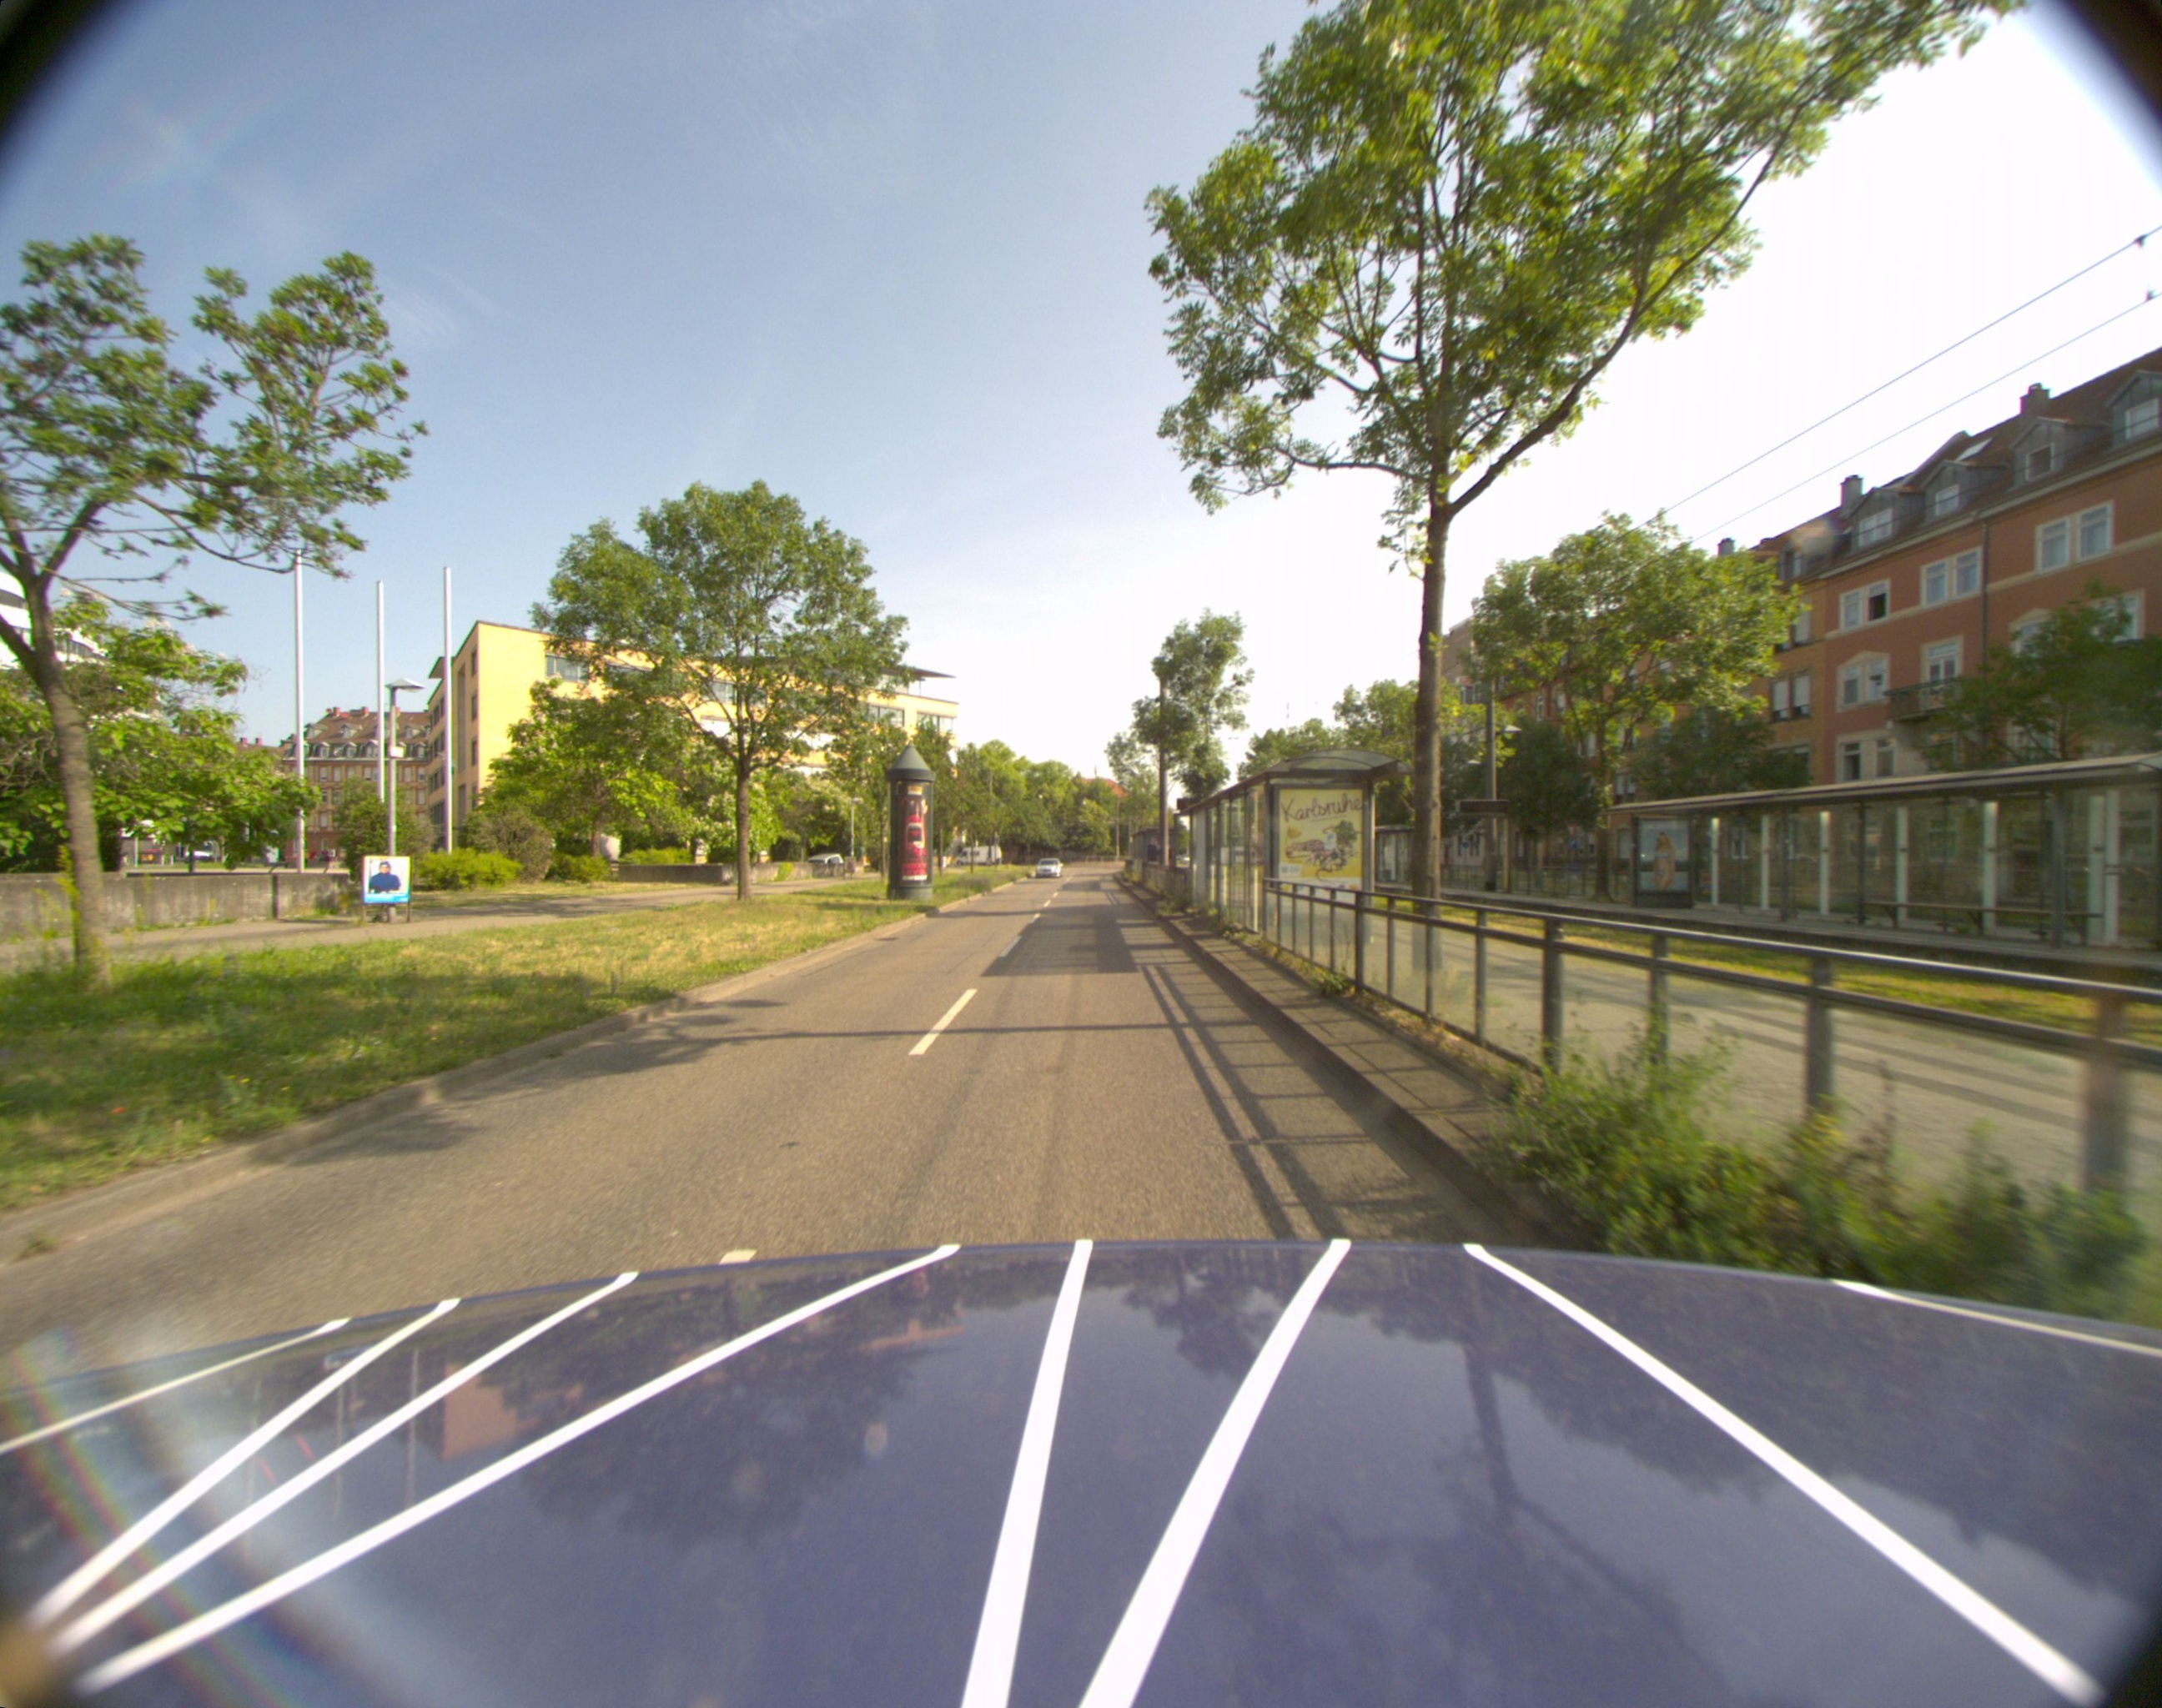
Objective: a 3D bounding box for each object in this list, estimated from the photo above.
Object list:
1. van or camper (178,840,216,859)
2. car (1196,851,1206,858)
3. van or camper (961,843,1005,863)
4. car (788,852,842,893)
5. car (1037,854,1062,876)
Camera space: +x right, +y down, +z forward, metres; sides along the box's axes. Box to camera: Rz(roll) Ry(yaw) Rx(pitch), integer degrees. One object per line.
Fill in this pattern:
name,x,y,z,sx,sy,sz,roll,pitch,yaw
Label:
van or camper,-139.384,-0.683,119.882,2.412,2.888,5.719,-3,1,-35
car,27.630,0.011,175.304,1.672,1.505,3.999,1,1,1
van or camper,-13.723,-0.169,106.432,5.801,2.678,2.407,-2,1,-2
car,-16.667,1.113,47.794,1.824,1.830,3.993,-2,10,1
car,-2.221,0.758,54.748,1.629,1.476,3.366,-2,1,-1
